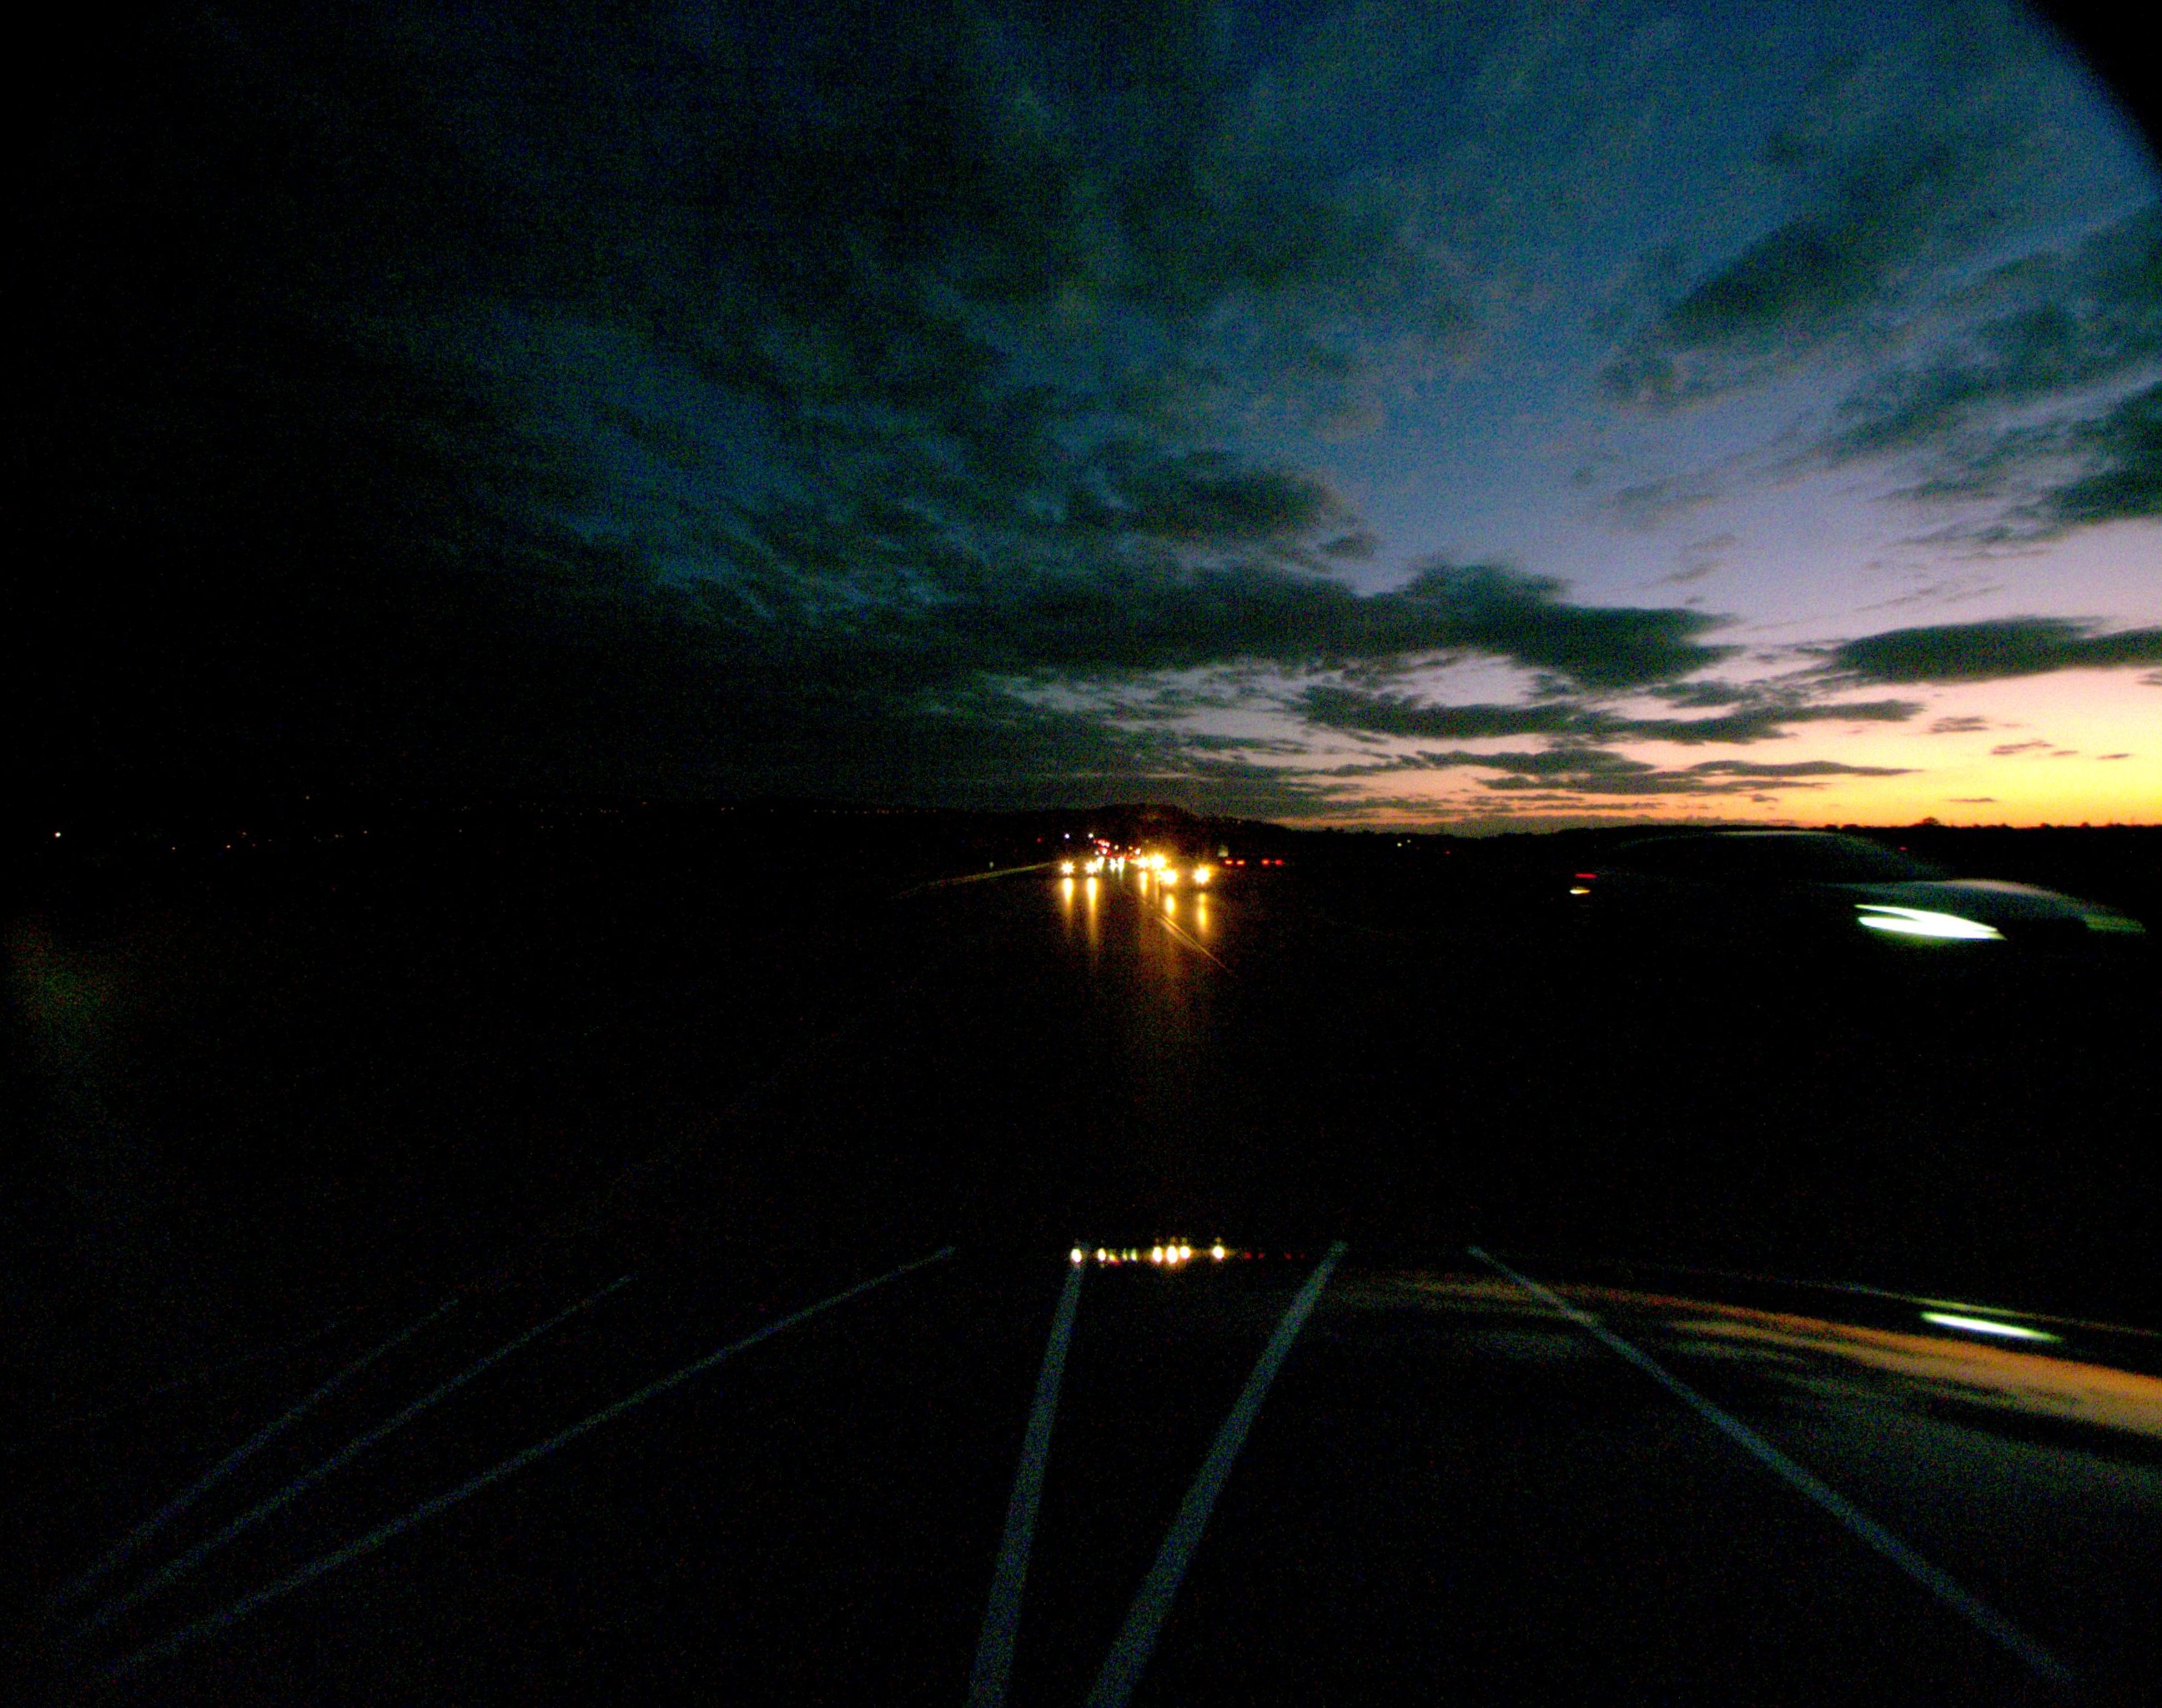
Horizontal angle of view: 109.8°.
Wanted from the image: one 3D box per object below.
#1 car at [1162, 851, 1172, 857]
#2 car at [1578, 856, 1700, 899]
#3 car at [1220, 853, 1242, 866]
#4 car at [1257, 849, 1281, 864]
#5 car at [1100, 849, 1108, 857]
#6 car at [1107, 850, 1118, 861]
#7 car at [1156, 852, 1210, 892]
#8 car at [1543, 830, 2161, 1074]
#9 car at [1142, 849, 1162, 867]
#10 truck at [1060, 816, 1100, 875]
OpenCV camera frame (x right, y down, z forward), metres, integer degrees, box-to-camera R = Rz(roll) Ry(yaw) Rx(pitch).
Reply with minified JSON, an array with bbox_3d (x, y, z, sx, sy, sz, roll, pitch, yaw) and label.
[{"bbox_3d":[19.442,0.025,172.114,1.676,1.293,4.704,-2,1,1],"label":"car"},{"bbox_3d":[22.954,0.903,31.514,1.748,1.526,4.520,-2,1,1],"label":"car"},{"bbox_3d":[16.557,0.585,83.910,1.608,1.379,3.901,-2,1,1],"label":"car"},{"bbox_3d":[24.638,0.295,99.759,1.998,1.836,4.957,-2,1,1],"label":"car"},{"bbox_3d":[5.455,-0.295,183.394,1.862,1.826,3.999,-2,1,1],"label":"car"},{"bbox_3d":[5.836,0.284,140.993,1.862,1.826,3.999,-2,1,1],"label":"car"},{"bbox_3d":[4.417,0.721,33.323,1.802,1.531,4.159,-2,1,1],"label":"car"},{"bbox_3d":[7.066,0.649,7.702,1.819,1.638,4.856,-2,1,0],"label":"car"},{"bbox_3d":[7.783,0.464,83.515,1.862,1.826,3.999,-2,1,1],"label":"car"},{"bbox_3d":[0.015,-0.647,65.802,3.012,4.570,12.578,-2,0,1],"label":"truck"}]
